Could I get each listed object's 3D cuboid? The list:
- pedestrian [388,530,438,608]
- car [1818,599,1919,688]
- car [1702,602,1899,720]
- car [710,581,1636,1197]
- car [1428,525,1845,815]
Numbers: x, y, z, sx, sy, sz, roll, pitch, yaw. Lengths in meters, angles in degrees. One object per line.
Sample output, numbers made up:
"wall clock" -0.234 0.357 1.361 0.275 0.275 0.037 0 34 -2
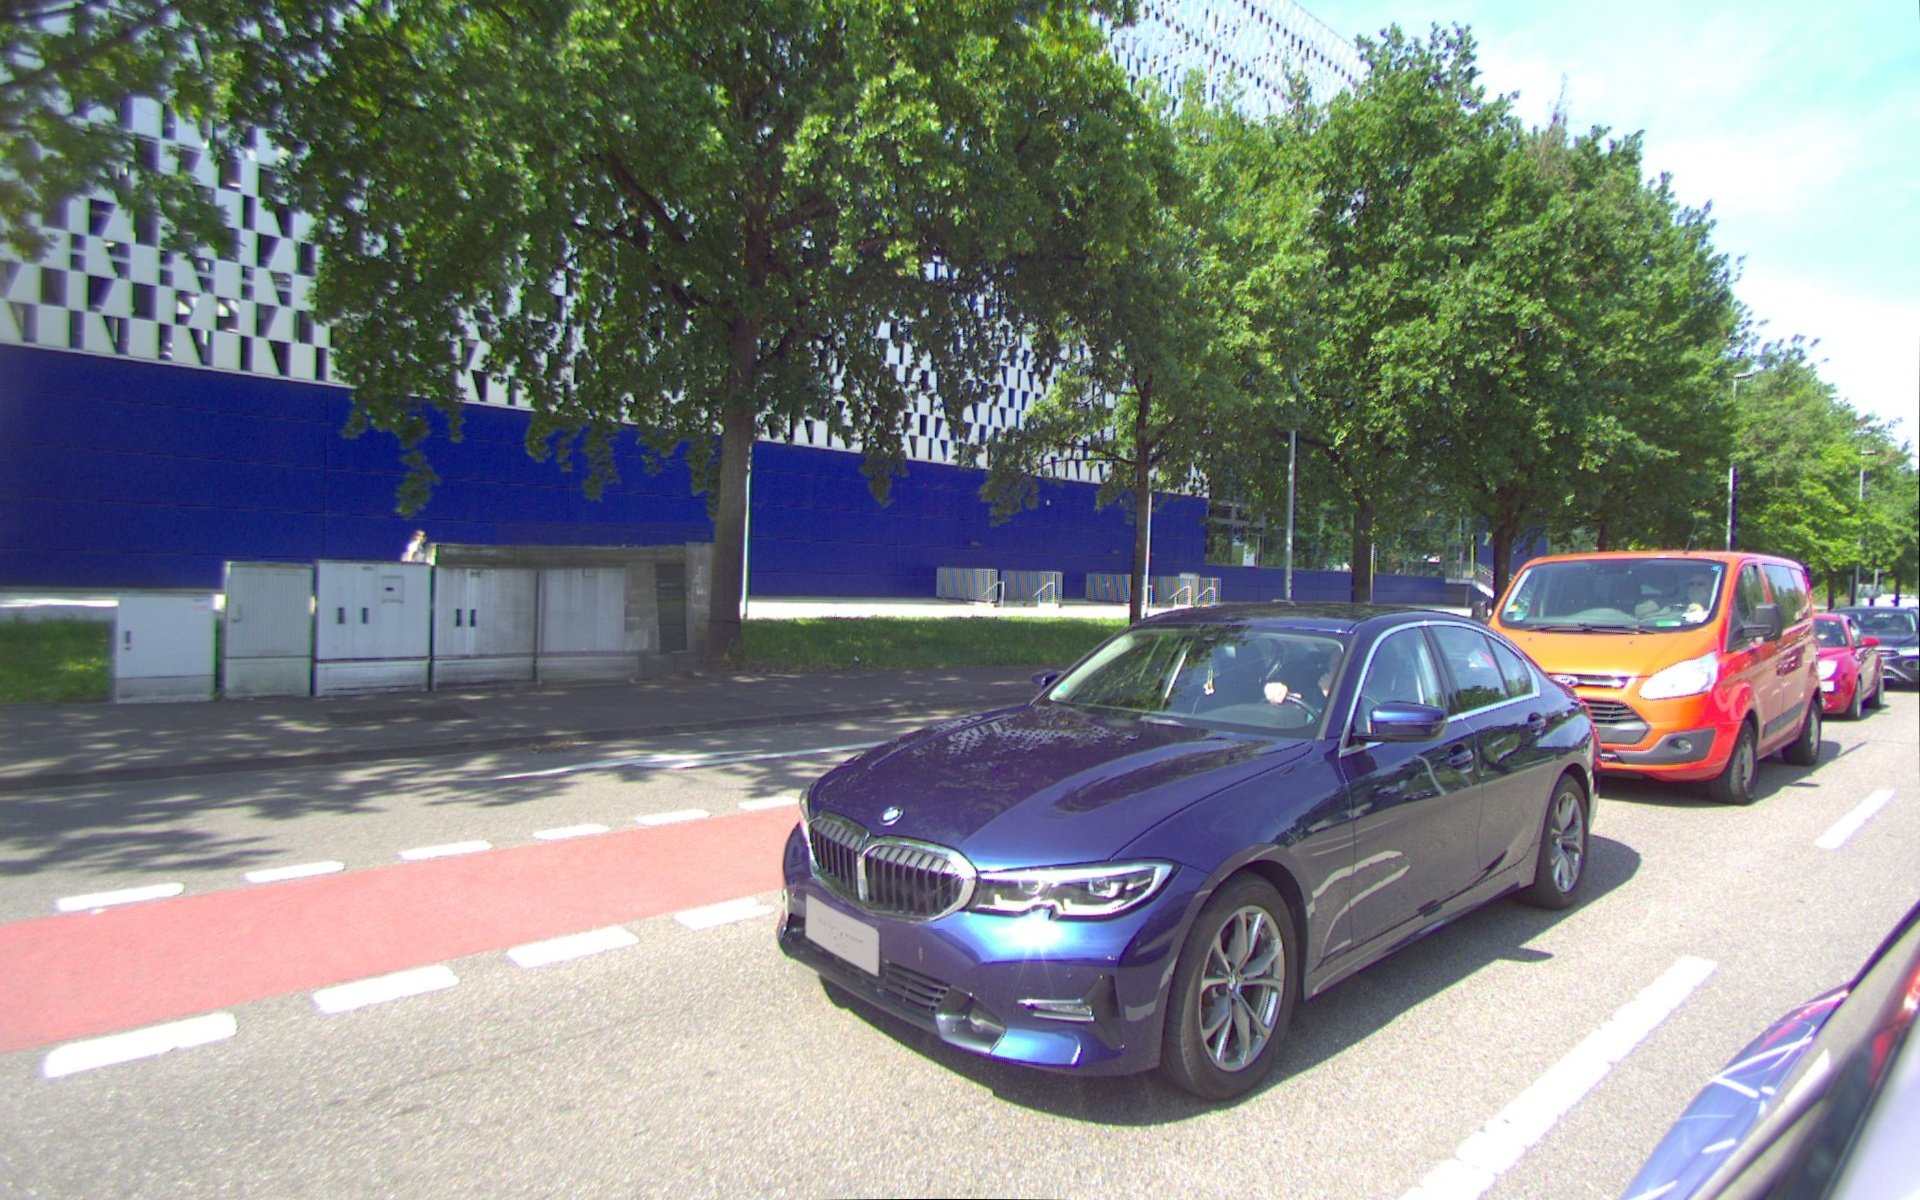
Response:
"pedestrian" -11.229 -0.632 20.777 0.767 1.565 0.680 1 2 -41
"car" 17.855 0.775 19.414 3.932 1.559 1.647 0 -1 -43
"car" 12.217 0.772 14.631 3.849 1.440 1.690 0 1 -43
"car" 1.332 0.682 4.567 4.459 1.447 1.798 0 1 -42
"car" 6.255 0.465 9.098 4.727 1.931 2.012 0 0 -42
